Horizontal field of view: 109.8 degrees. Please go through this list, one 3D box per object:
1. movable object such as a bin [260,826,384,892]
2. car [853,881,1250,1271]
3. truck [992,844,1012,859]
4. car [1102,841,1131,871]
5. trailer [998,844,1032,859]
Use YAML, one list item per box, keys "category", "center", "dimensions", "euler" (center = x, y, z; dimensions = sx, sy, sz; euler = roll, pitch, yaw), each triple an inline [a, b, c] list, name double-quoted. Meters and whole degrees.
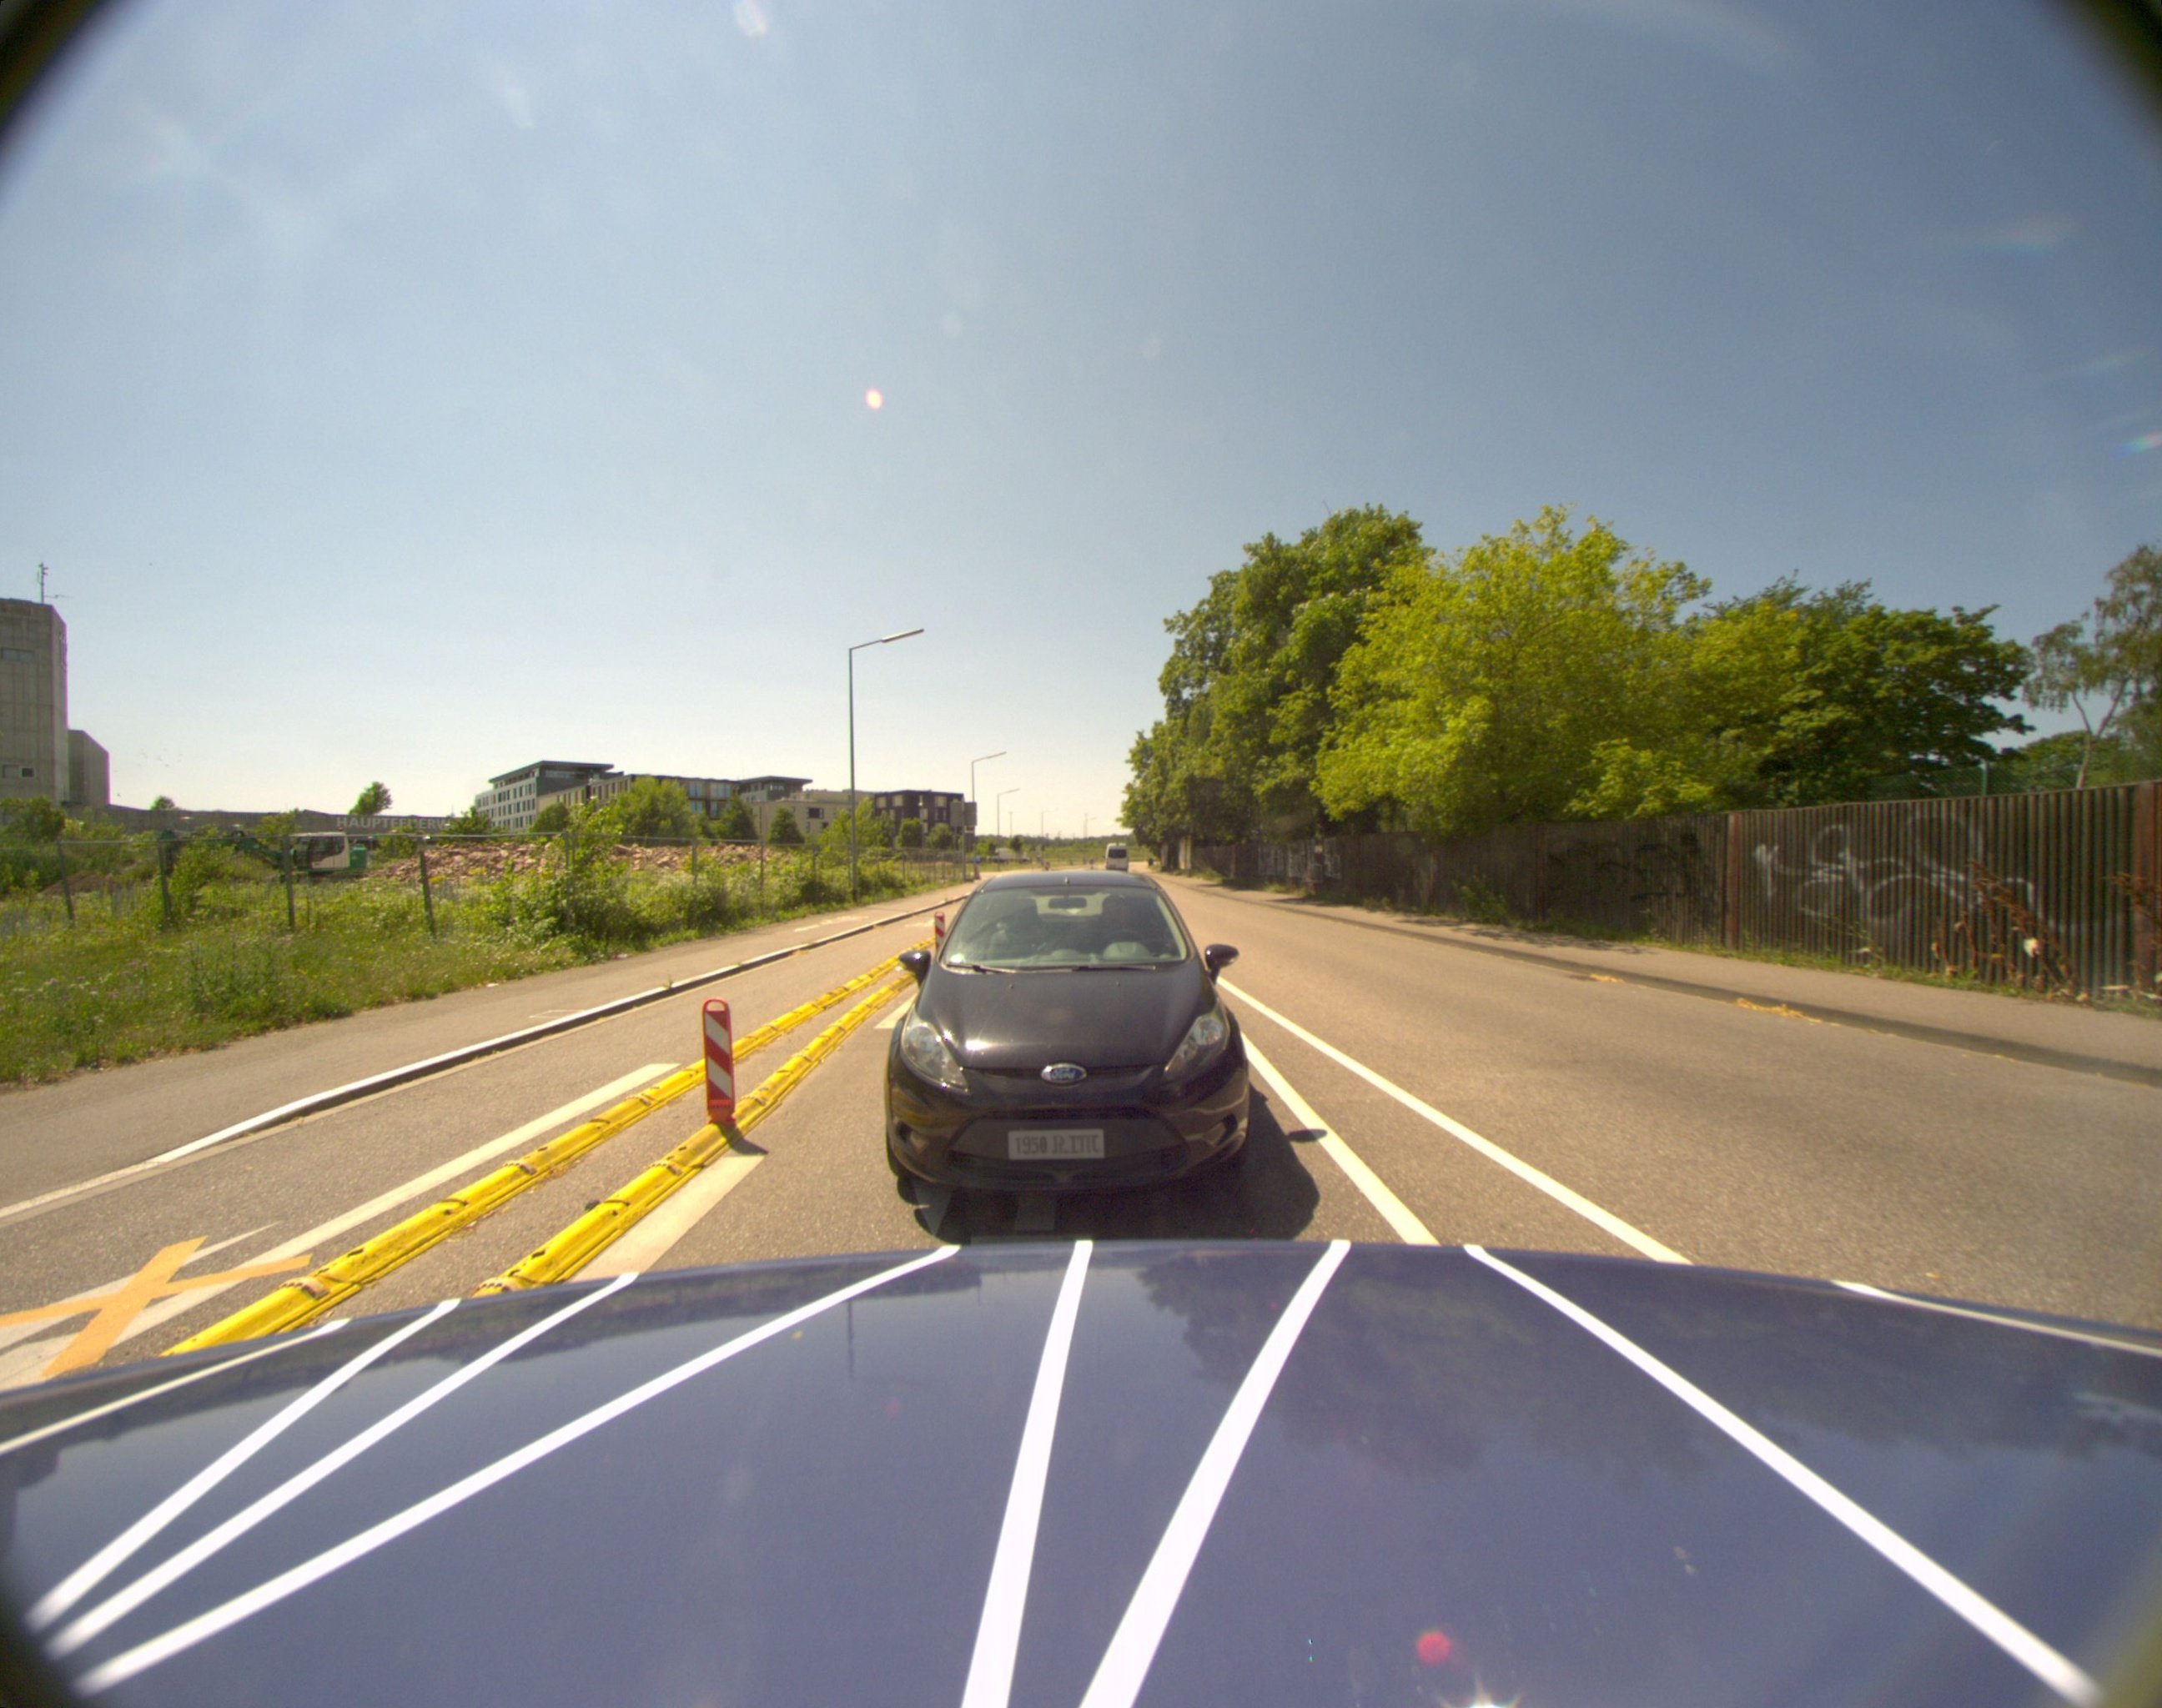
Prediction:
- category: "movable object such as a bin"
  center: [-37.626, 0.232, 37.796]
  dimensions: [2.204, 3.045, 3.690]
  euler: [-2, 1, 6]
- category: "car"
  center: [-0.101, 0.992, 5.140]
  dimensions: [1.602, 1.422, 4.000]
  euler: [-2, 0, 1]
- category: "truck"
  center: [-17.865, -0.644, 171.715]
  dimensions: [4.008, 3.316, 1.994]
  euler: [-1, 1, -45]
- category: "car"
  center: [3.152, 0.158, 68.519]
  dimensions: [2.025, 2.524, 6.825]
  euler: [0, 0, -2]
- category: "trailer"
  center: [-15.108, -0.646, 174.454]
  dimensions: [8.194, 3.329, 1.994]
  euler: [-1, 0, -45]
